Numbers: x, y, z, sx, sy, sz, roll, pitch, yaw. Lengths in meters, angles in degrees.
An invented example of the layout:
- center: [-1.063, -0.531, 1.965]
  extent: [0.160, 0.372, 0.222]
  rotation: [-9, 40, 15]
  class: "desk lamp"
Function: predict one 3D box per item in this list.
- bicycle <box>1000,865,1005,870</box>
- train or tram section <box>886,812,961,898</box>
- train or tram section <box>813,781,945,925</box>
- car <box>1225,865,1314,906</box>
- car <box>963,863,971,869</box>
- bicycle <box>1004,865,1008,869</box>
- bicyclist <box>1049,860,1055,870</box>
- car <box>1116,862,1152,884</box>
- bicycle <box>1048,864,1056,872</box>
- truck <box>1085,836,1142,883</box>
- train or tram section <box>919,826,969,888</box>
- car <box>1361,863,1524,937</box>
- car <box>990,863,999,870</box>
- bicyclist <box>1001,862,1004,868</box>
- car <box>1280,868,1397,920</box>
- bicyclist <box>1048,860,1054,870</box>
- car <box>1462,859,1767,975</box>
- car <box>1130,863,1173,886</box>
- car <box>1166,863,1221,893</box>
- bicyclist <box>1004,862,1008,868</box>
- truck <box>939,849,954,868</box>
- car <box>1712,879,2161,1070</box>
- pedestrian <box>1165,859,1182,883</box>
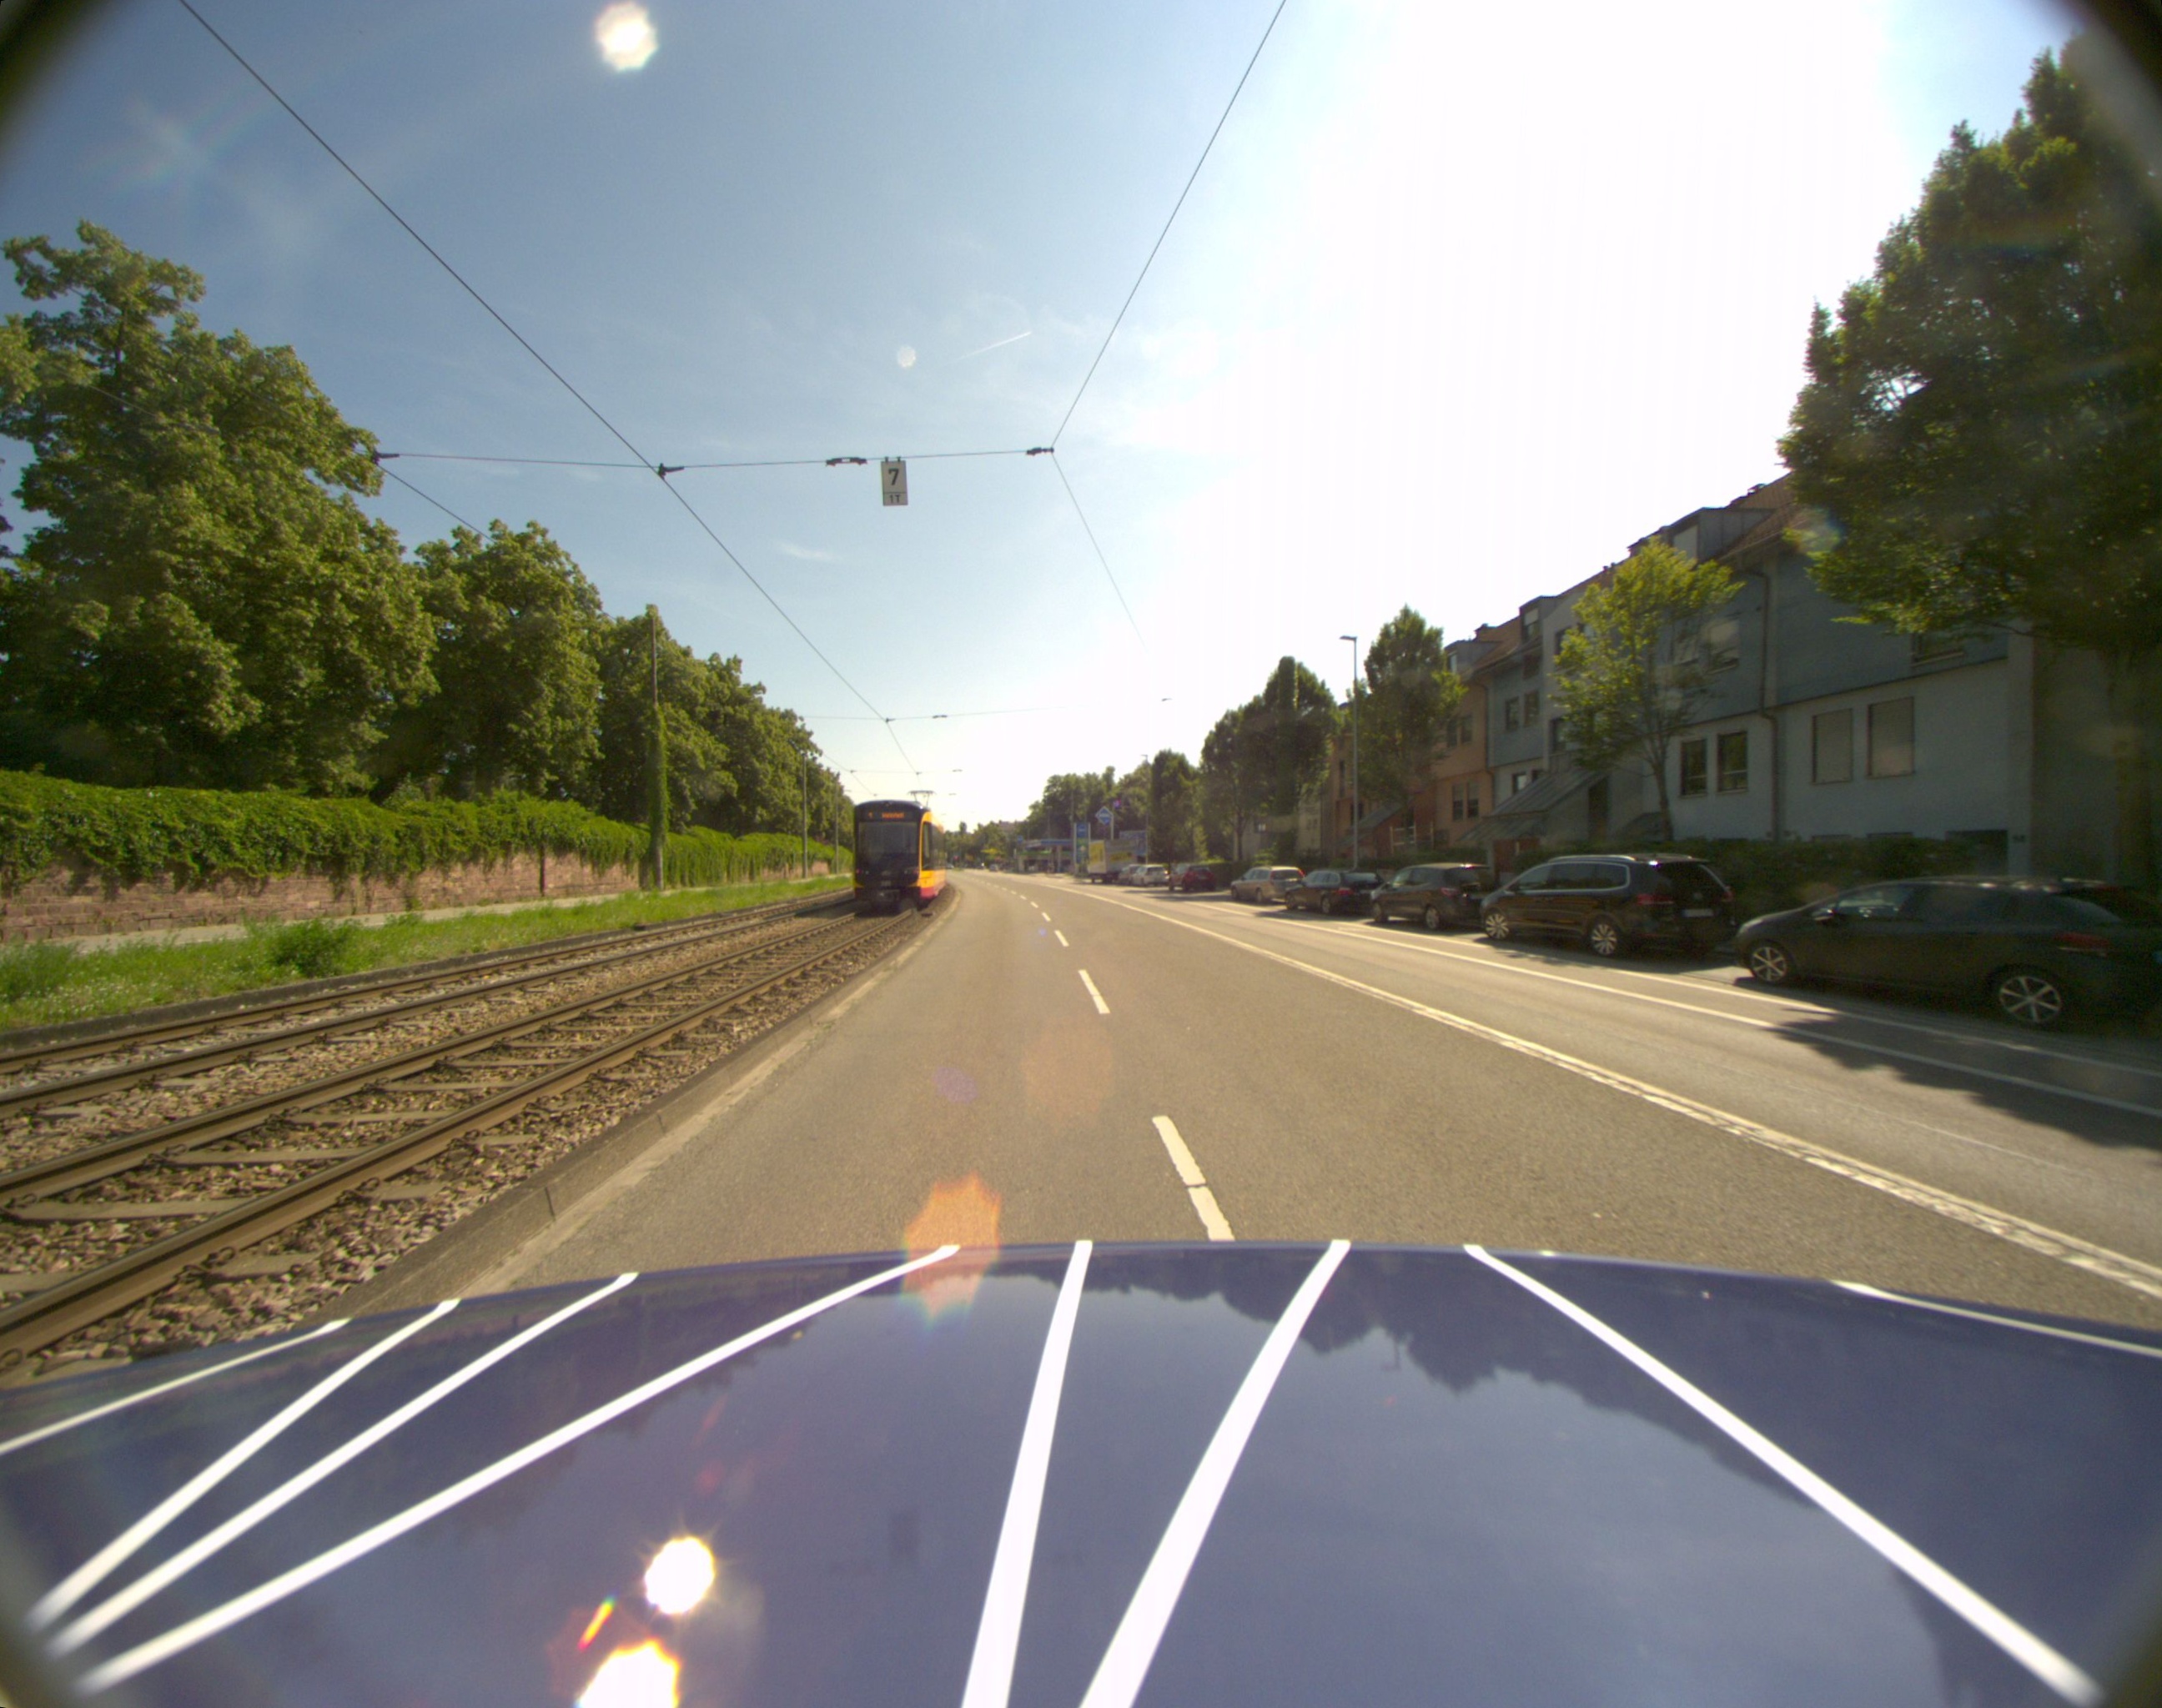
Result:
- center: [-19.364, 3.314, 187.572]
  extent: [0.754, 1.051, 2.072]
  rotation: [0, -1, -20]
  class: "bicycle"
- center: [-7.882, 0.113, 39.667]
  extent: [2.519, 3.725, 13.303]
  rotation: [0, 0, -6]
  class: "train or tram section"
- center: [-6.436, 0.031, 26.443]
  extent: [2.519, 3.725, 13.303]
  rotation: [0, 0, -6]
  class: "train or tram section"
- center: [7.791, 1.266, 31.882]
  extent: [1.786, 1.475, 4.853]
  rotation: [-1, 0, -10]
  class: "car"
- center: [-35.616, 3.824, 237.410]
  extent: [1.828, 1.661, 3.996]
  rotation: [-1, -2, -16]
  class: "car"
- center: [-18.669, 3.229, 189.532]
  extent: [0.940, 1.168, 2.209]
  rotation: [0, -1, -10]
  class: "bicycle"
- center: [-4.221, 1.535, 109.812]
  extent: [0.850, 1.427, 0.832]
  rotation: [0, 0, -9]
  class: "bicyclist"
- center: [3.867, 1.355, 55.754]
  extent: [1.615, 1.475, 3.632]
  rotation: [-2, 0, -13]
  class: "car"
- center: [-4.261, 2.058, 109.822]
  extent: [0.828, 1.088, 2.770]
  rotation: [0, 0, -9]
  class: "bicycle"
- center: [2.521, 0.431, 62.359]
  extent: [2.676, 3.509, 8.582]
  rotation: [-2, 0, -11]
  class: "truck"
- center: [-9.316, 0.243, 52.890]
  extent: [2.519, 3.725, 13.303]
  rotation: [0, 0, -6]
  class: "train or tram section"
- center: [9.095, 1.079, 19.571]
  extent: [1.722, 1.615, 4.310]
  rotation: [-1, 0, -7]
  class: "car"
- center: [-18.575, 2.678, 163.204]
  extent: [1.664, 1.412, 4.307]
  rotation: [1, -1, -8]
  class: "car"
- center: [-19.342, 2.678, 187.397]
  extent: [0.711, 1.411, 0.738]
  rotation: [-1, -2, -20]
  class: "bicyclist"
- center: [8.415, 1.256, 25.376]
  extent: [1.728, 1.466, 4.711]
  rotation: [-2, 0, -8]
  class: "car"
- center: [-4.360, 1.554, 110.591]
  extent: [0.850, 1.427, 0.832]
  rotation: [-1, 0, -8]
  class: "bicyclist"
- center: [9.473, 0.990, 14.139]
  extent: [1.775, 1.713, 4.867]
  rotation: [-2, 0, -8]
  class: "car"
- center: [4.659, 1.355, 50.899]
  extent: [1.763, 1.420, 4.277]
  rotation: [-1, 0, -11]
  class: "car"
- center: [6.175, 1.281, 42.358]
  extent: [1.737, 1.542, 4.315]
  rotation: [-1, 0, -10]
  class: "car"
- center: [-18.651, 2.750, 189.385]
  extent: [0.838, 1.663, 0.826]
  rotation: [-1, -2, -12]
  class: "bicyclist"
- center: [-29.990, 1.144, 169.087]
  extent: [2.856, 3.983, 14.290]
  rotation: [0, -1, -12]
  class: "truck"
- center: [9.893, 1.115, 8.703]
  extent: [1.695, 1.466, 4.046]
  rotation: [-3, 0, -5]
  class: "car"
- center: [6.481, 1.194, 53.083]
  extent: [0.878, 1.680, 1.054]
  rotation: [0, 0, -11]
  class: "pedestrian"
